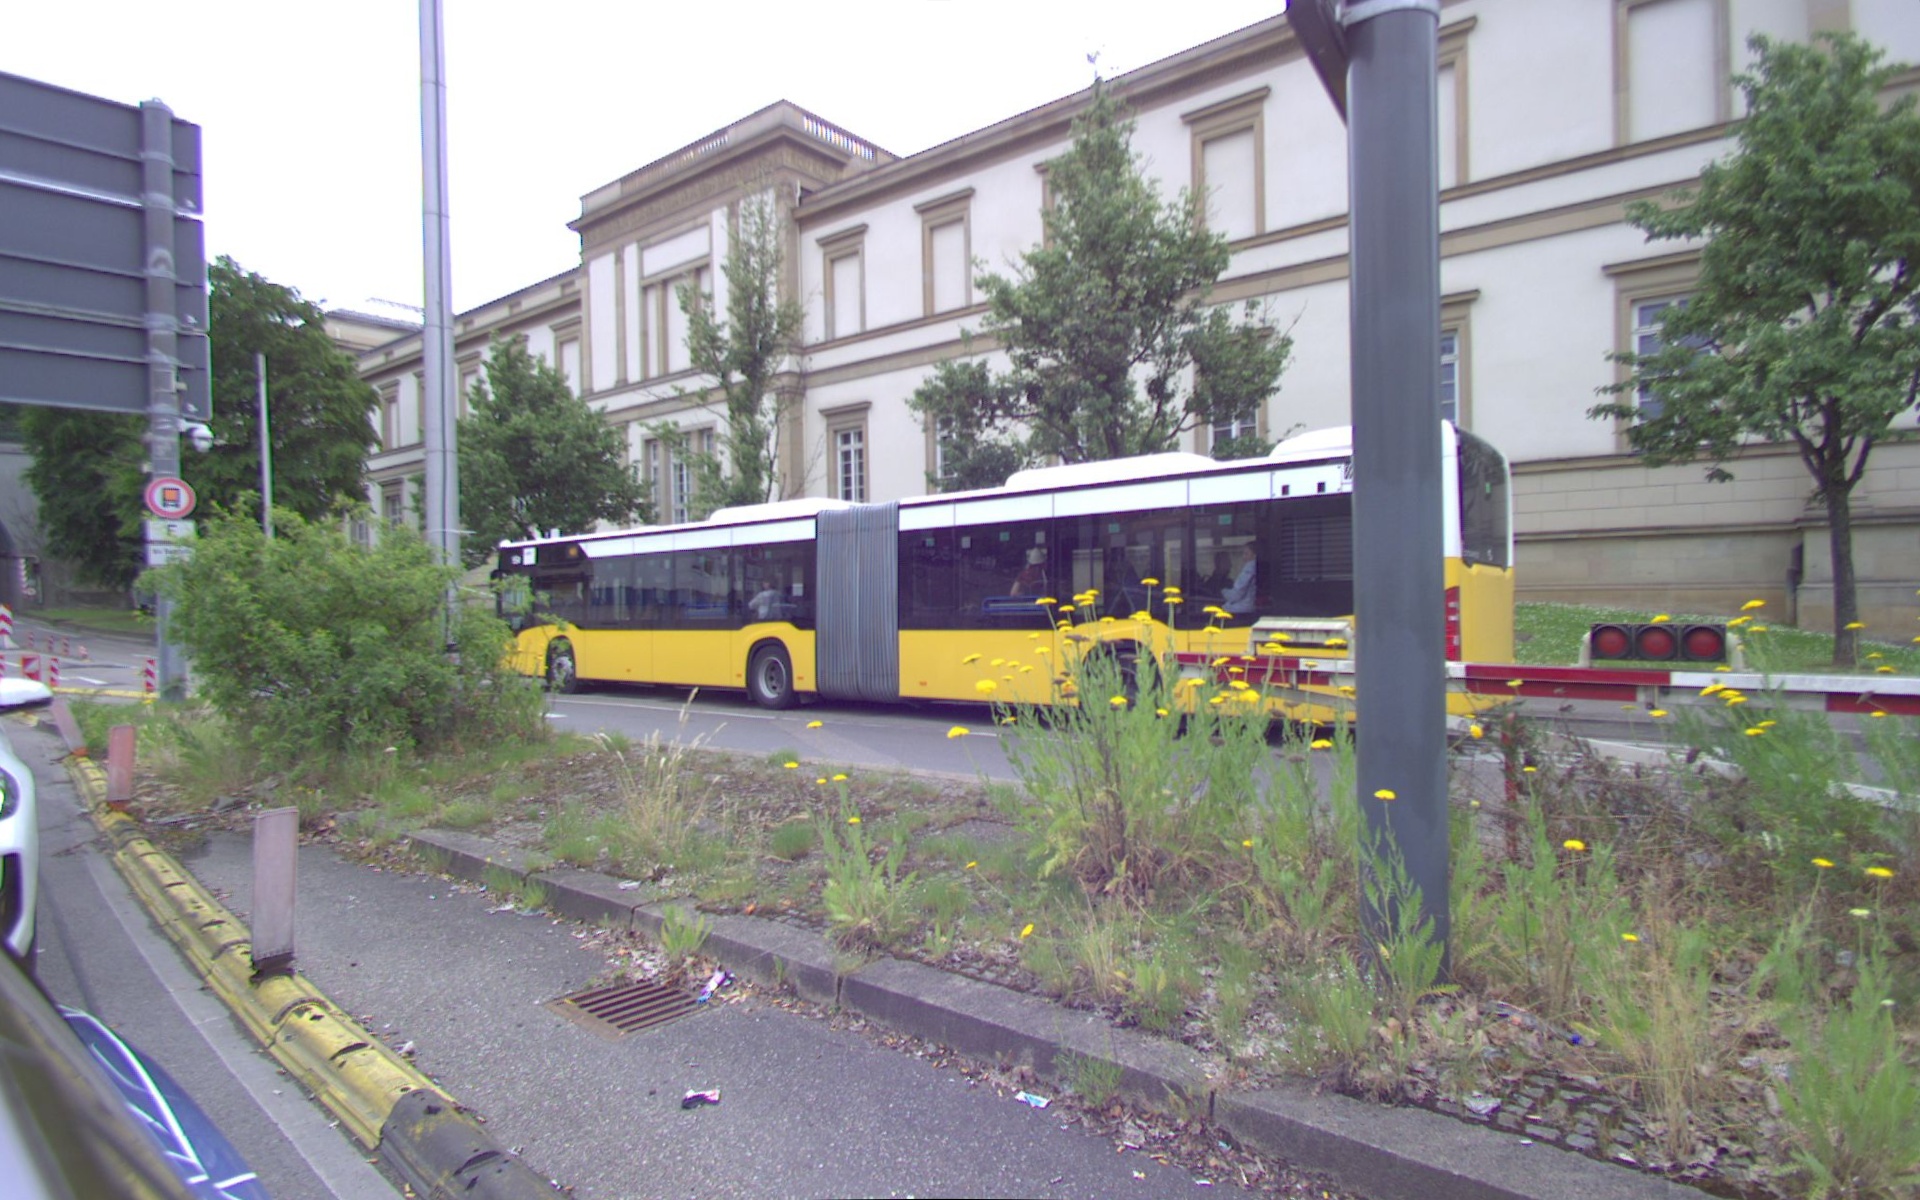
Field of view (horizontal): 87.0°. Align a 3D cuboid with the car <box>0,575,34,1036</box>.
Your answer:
[{"bbox_3d":[-5.230,0.725,4.206,3.911,1.568,1.733,-1,0,43],"label":"car"}]

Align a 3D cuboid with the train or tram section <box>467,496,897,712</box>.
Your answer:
[{"bbox_3d":[-5.503,0.167,18.541,9.366,3.094,2.667,-2,-2,39],"label":"train or tram section"}]

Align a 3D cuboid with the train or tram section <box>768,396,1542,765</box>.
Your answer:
[{"bbox_3d":[1.629,-0.056,12.548,9.330,3.094,2.666,-2,-2,41],"label":"train or tram section"}]
